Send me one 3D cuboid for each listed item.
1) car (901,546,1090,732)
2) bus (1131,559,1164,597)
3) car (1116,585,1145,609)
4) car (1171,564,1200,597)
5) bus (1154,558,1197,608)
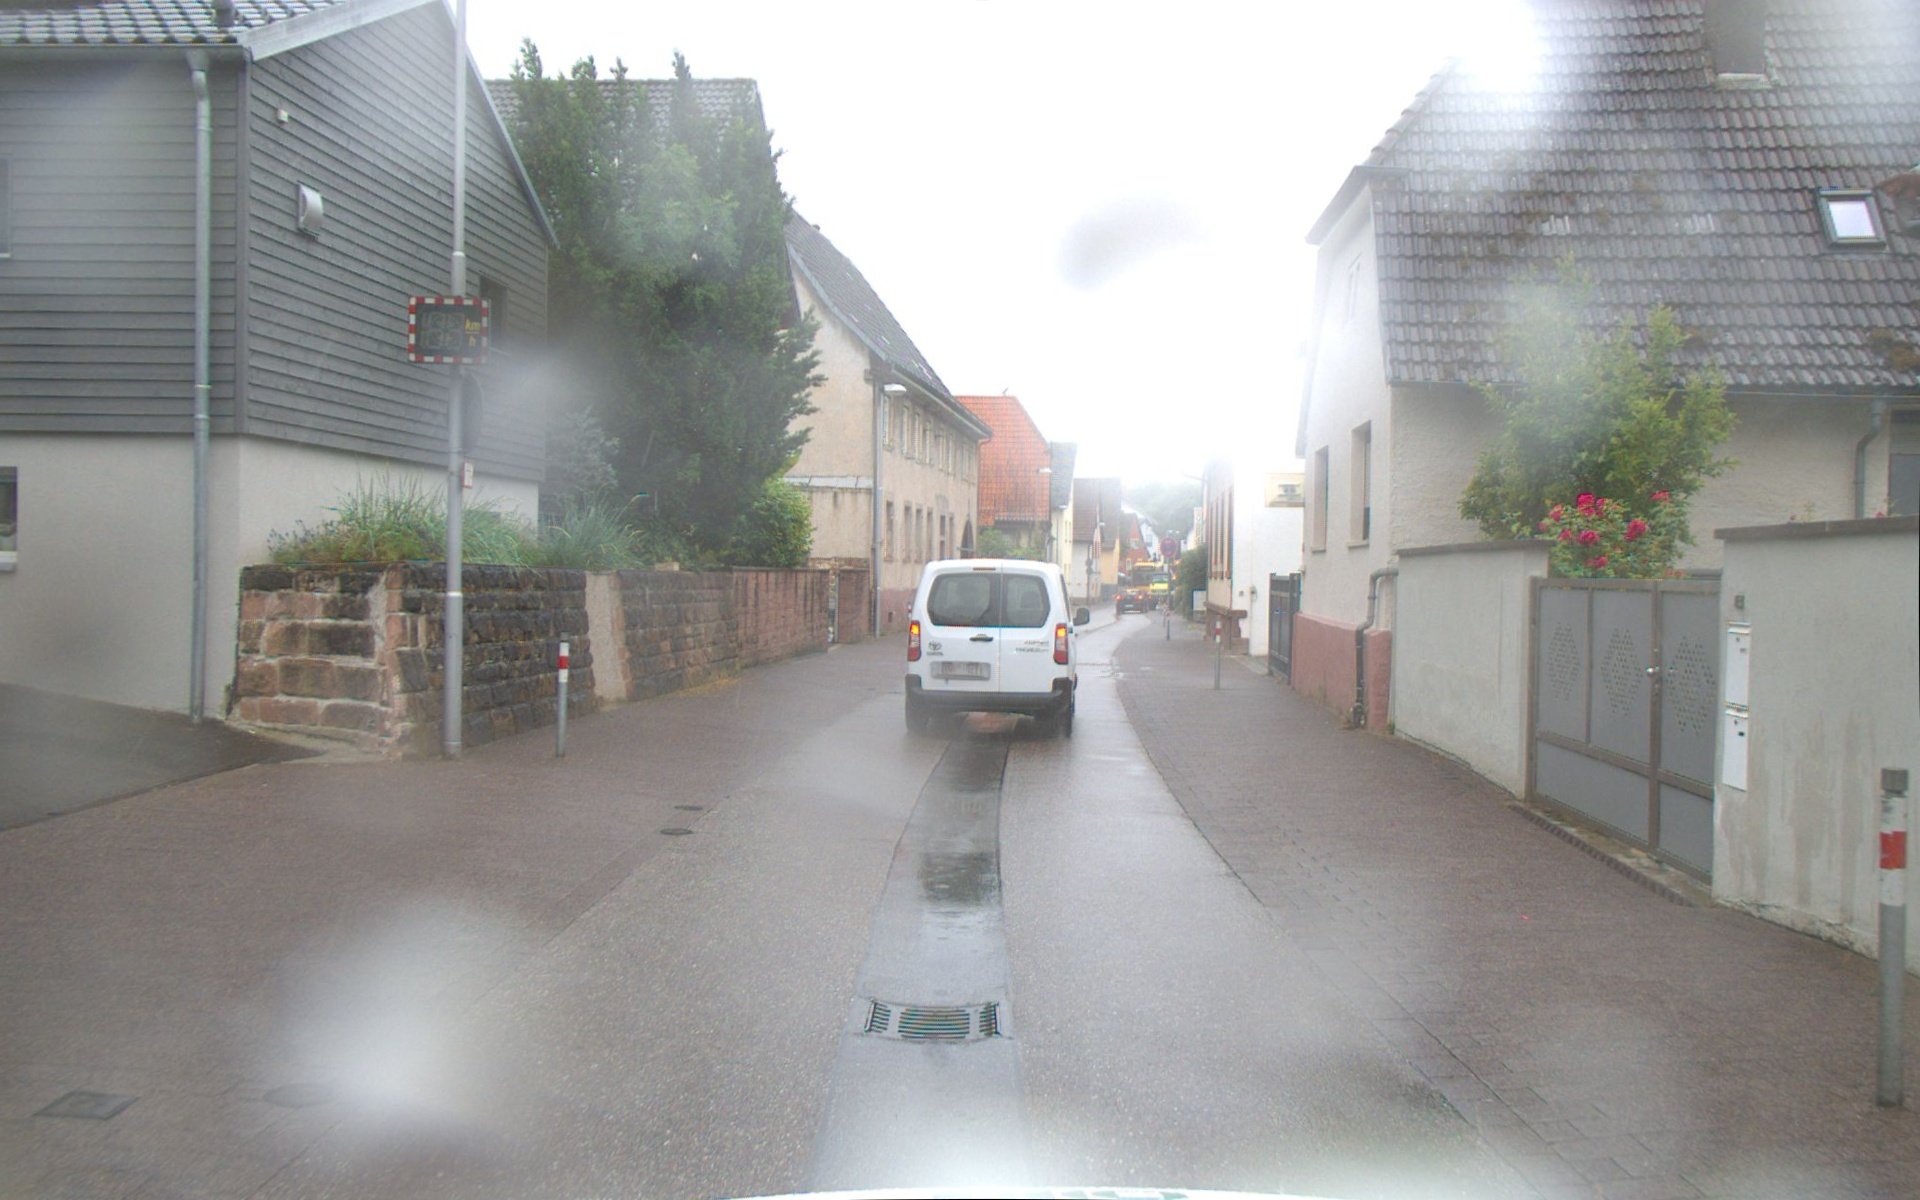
[{"bbox_3d":[0.510,0.409,18.621,1.757,1.850,4.104,0,0,6],"label":"car"},{"bbox_3d":[17.933,-2.053,157.832,2.734,3.387,8.184,3,0,8],"label":"bus"},{"bbox_3d":[10.611,-0.190,102.865,1.528,1.395,3.588,2,0,9],"label":"car"},{"bbox_3d":[14.850,-1.276,108.704,1.788,2.049,3.697,2,0,8],"label":"car"},{"bbox_3d":[15.035,-1.121,115.068,2.734,3.235,8.184,3,0,8],"label":"bus"}]
